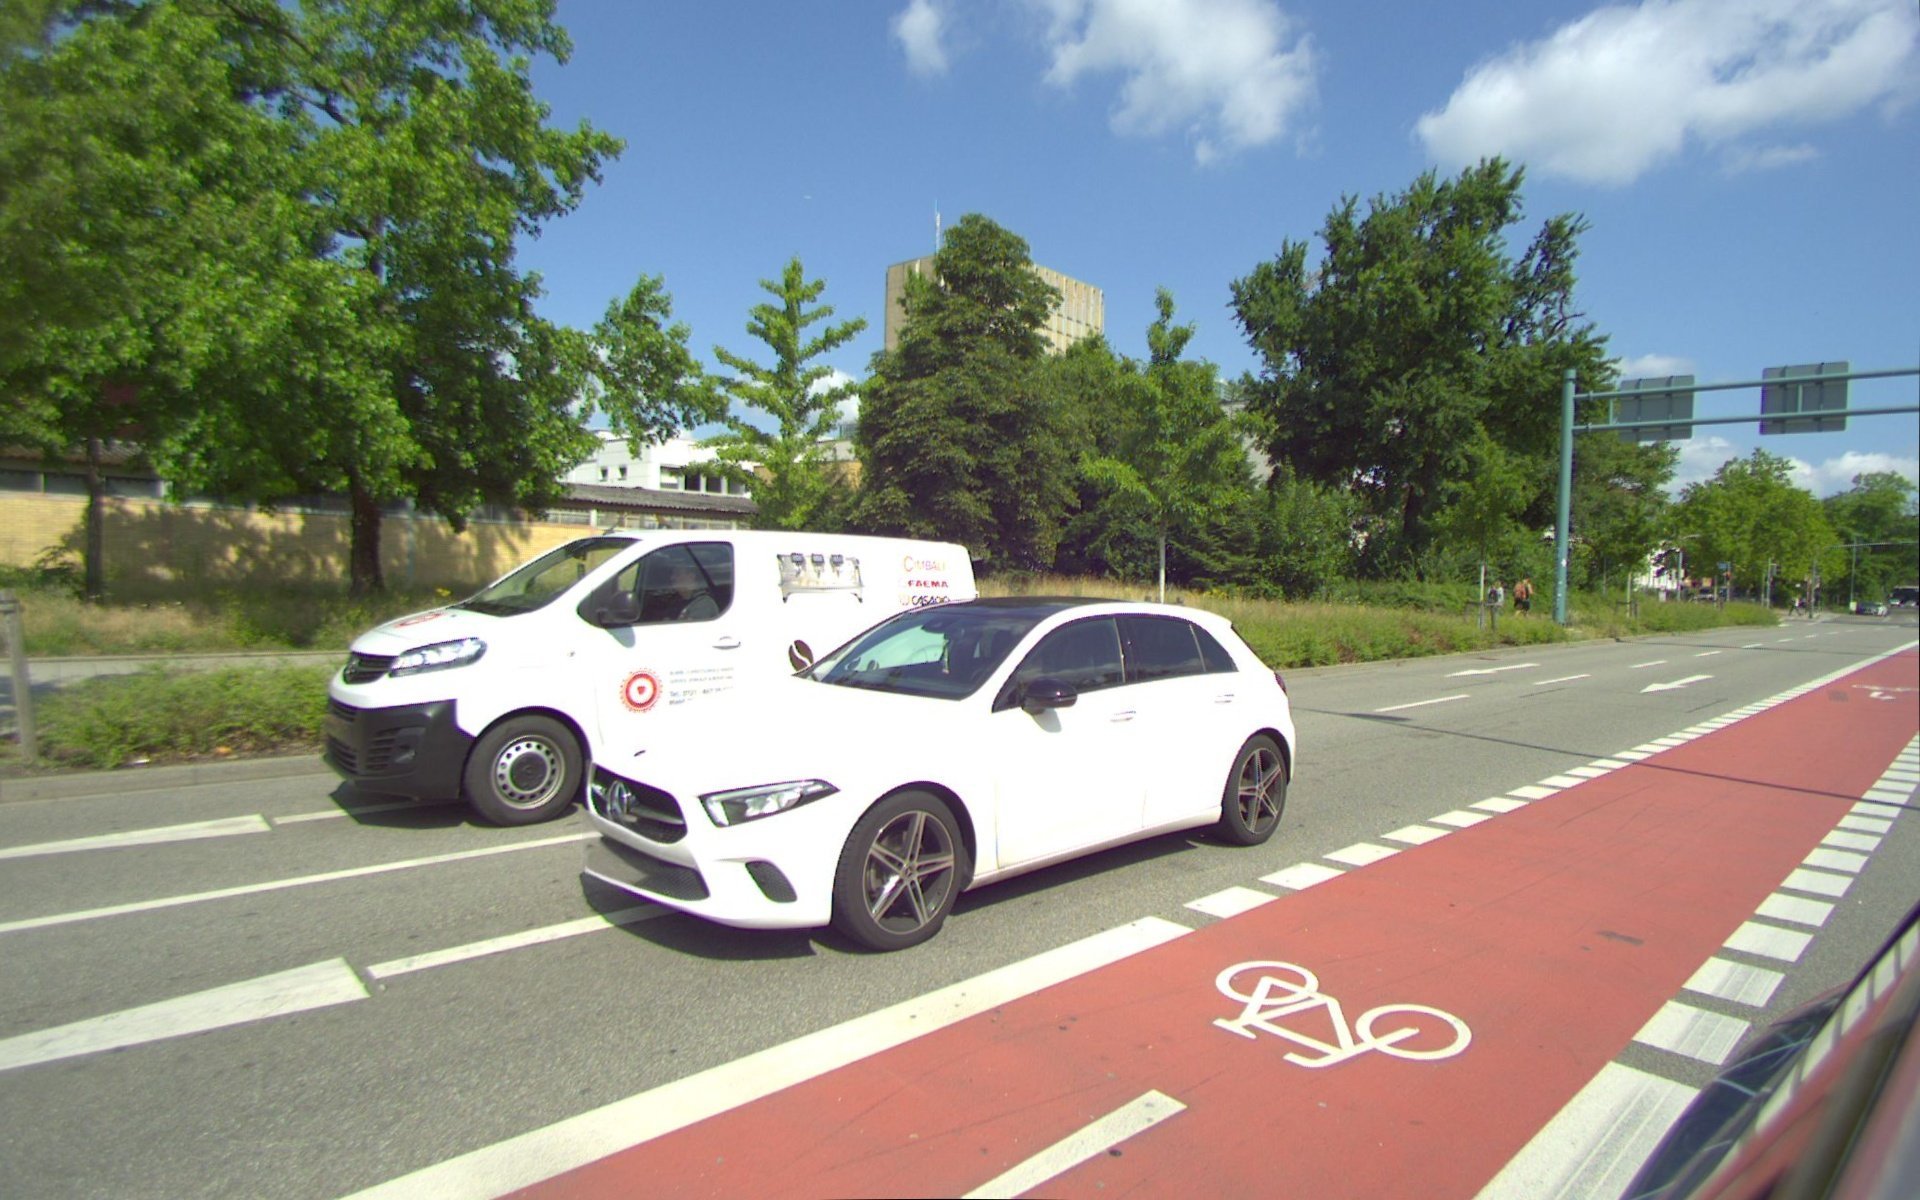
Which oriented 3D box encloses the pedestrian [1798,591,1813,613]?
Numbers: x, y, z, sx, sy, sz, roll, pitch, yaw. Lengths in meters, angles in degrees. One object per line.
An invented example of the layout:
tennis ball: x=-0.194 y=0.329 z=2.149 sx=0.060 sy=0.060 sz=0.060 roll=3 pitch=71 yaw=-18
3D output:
pedestrian: x=66.288 y=0.147 z=79.329 sx=0.627 sy=1.670 sz=0.742 roll=1 pitch=1 yaw=-35

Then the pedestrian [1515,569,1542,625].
pedestrian: x=18.847 y=-0.116 z=33.565 sx=0.628 sy=1.824 sz=0.568 roll=1 pitch=1 yaw=-43

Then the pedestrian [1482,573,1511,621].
pedestrian: x=18.099 y=-0.104 z=34.138 sx=0.696 sy=1.600 sz=0.624 roll=1 pitch=1 yaw=-43

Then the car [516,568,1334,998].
car: x=0.093 y=0.615 z=5.624 sx=4.309 sy=1.441 sz=1.907 roll=0 pitch=2 yaw=-42

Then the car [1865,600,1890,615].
car: x=94.914 y=0.766 z=104.697 sx=1.703 sy=1.345 sz=3.940 roll=6 pitch=4 yaw=41

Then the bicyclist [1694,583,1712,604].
bicyclist: x=56.098 y=-0.470 z=76.444 sx=0.600 sy=1.526 sz=0.920 roll=2 pitch=1 yaw=-3

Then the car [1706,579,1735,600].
car: x=77.172 y=-1.053 z=102.640 sx=1.992 sy=2.038 sz=4.831 roll=3 pitch=2 yaw=40

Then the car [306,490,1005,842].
car: x=-2.042 y=0.326 z=7.753 sx=4.742 sy=1.893 sz=1.946 roll=0 pitch=2 yaw=-42

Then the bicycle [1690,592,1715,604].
bicycle: x=56.088 y=-0.135 z=76.454 sx=0.608 sy=0.843 sz=1.516 roll=2 pitch=2 yaw=-4

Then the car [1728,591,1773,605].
car: x=92.842 y=-0.239 z=118.909 sx=3.977 sy=1.442 sz=1.735 roll=3 pitch=2 yaw=37
